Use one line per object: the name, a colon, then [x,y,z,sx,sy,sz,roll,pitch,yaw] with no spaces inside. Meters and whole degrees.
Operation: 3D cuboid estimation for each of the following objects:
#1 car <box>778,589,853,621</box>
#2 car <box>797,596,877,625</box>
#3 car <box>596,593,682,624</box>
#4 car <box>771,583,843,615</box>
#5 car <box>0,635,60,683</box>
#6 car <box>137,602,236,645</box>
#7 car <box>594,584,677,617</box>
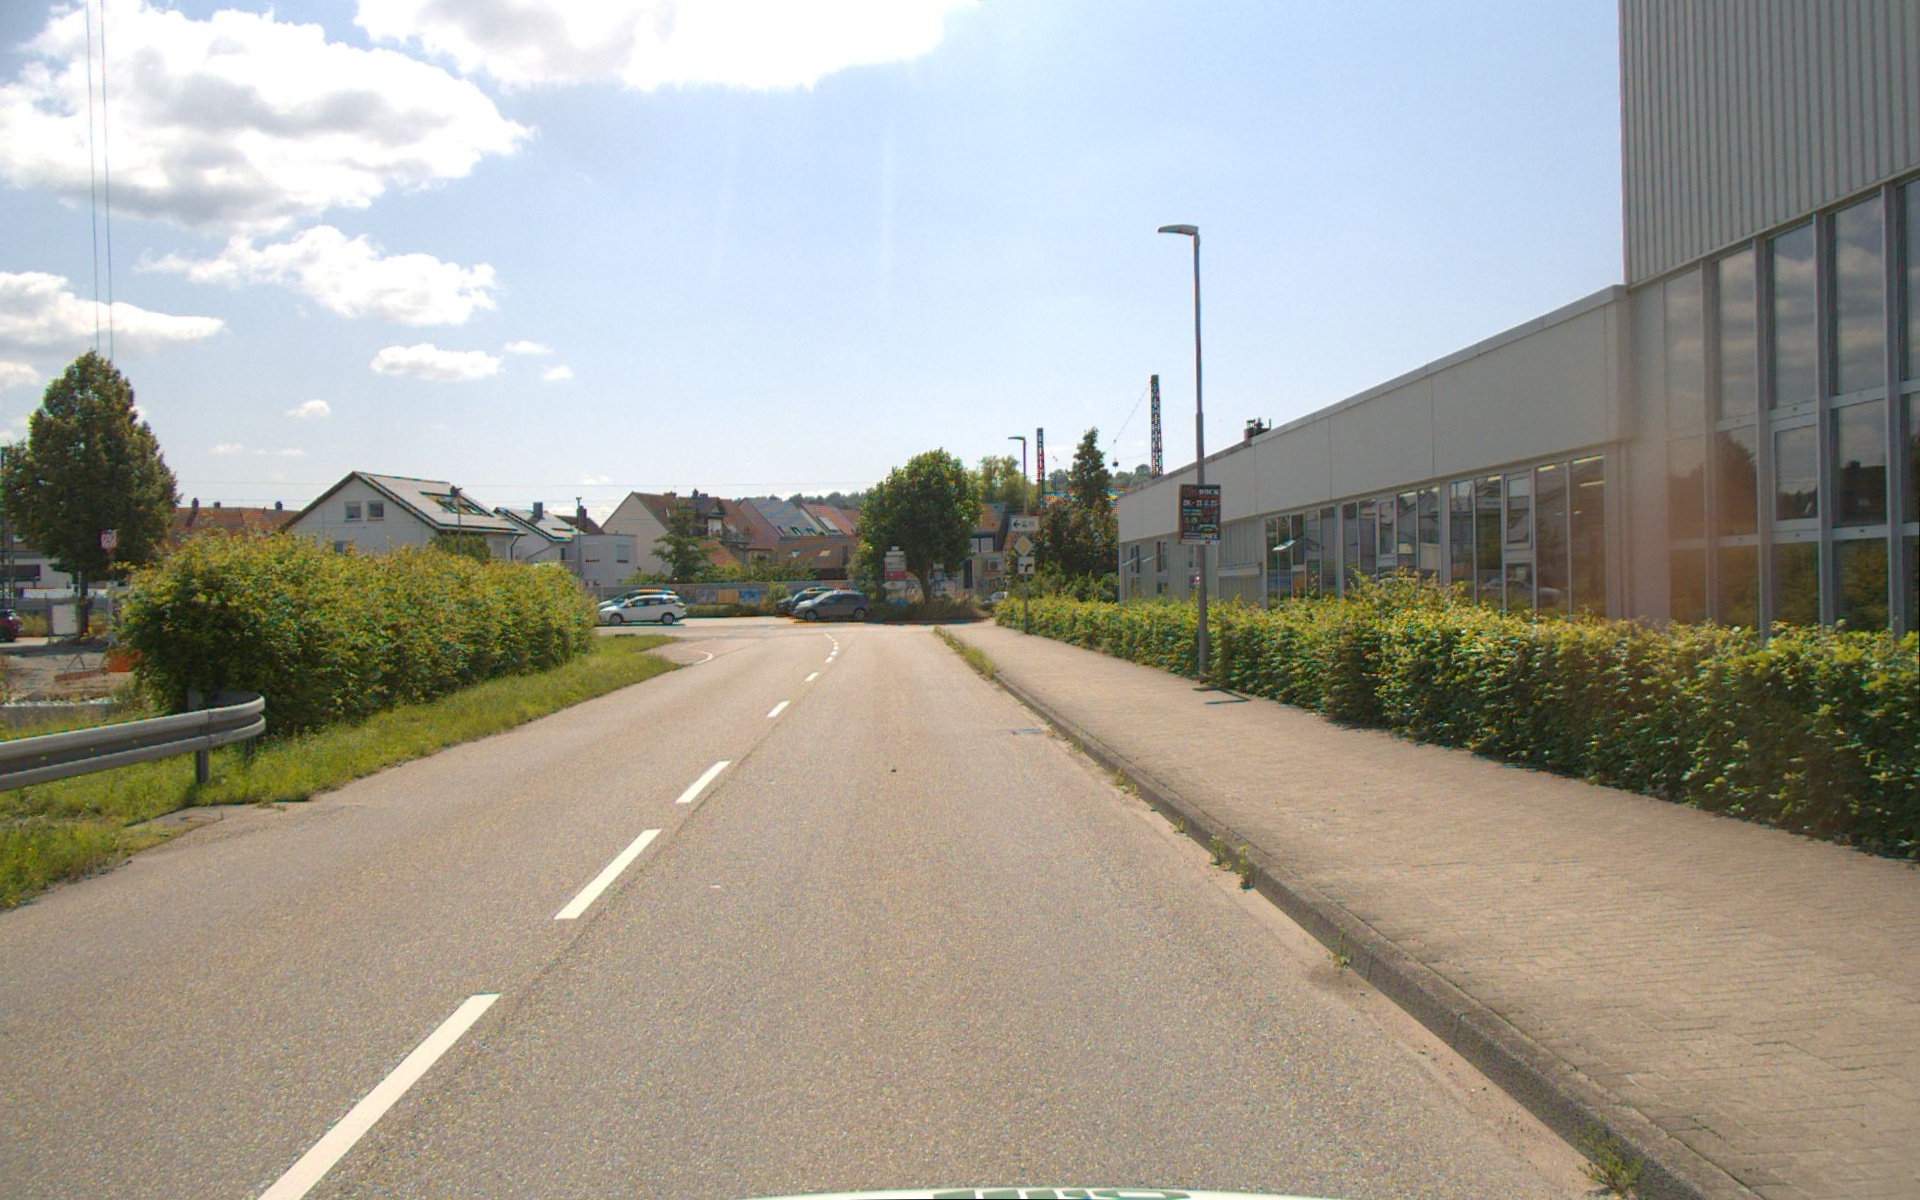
car: [-8.028,0.266,91.949,3.918,1.686,1.994,-1,0,-13]
car: [-6.554,0.554,87.934,4.113,1.488,1.660,0,0,-12]
car: [-16.541,0.432,85.177,4.212,1.502,1.820,1,-1,-15]
car: [-8.812,-0.056,95.300,3.917,1.760,1.764,1,-1,-13]
car: [-32.473,2.008,55.634,3.685,1.512,1.838,-2,0,-35]
car: [-38.409,1.142,82.143,4.348,2.049,1.982,-1,0,-28]
car: [-17.615,0.000,89.795,4.373,1.720,1.995,-1,1,-12]
